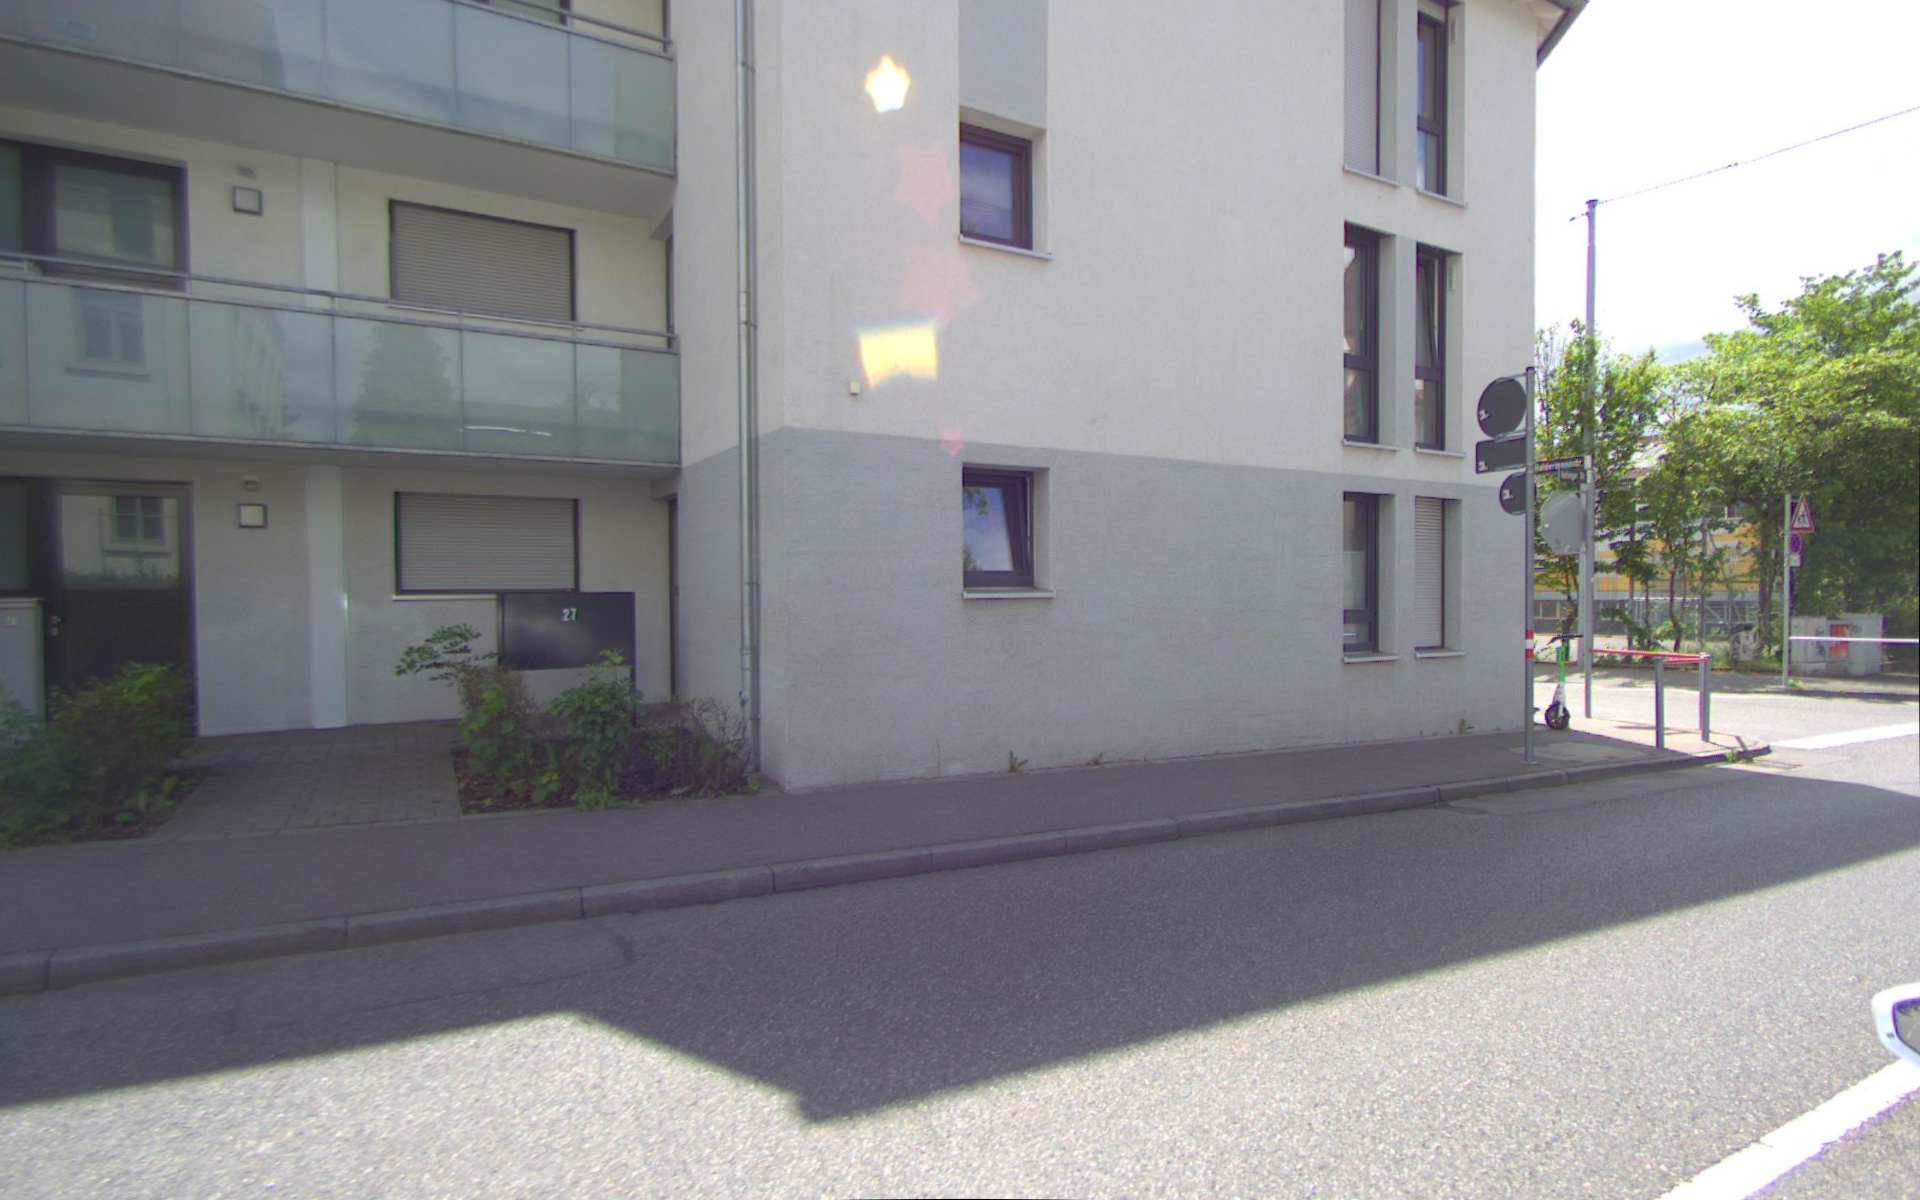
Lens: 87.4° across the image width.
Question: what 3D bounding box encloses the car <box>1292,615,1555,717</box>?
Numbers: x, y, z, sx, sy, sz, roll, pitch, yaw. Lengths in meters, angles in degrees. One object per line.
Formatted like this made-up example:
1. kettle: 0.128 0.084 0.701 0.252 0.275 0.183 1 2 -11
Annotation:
1. car: 8.242 1.084 18.151 1.840 1.497 3.959 -1 1 -36

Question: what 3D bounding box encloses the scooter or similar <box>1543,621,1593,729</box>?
1. scooter or similar: 7.666 0.914 12.689 0.482 1.278 1.305 0 -1 29
